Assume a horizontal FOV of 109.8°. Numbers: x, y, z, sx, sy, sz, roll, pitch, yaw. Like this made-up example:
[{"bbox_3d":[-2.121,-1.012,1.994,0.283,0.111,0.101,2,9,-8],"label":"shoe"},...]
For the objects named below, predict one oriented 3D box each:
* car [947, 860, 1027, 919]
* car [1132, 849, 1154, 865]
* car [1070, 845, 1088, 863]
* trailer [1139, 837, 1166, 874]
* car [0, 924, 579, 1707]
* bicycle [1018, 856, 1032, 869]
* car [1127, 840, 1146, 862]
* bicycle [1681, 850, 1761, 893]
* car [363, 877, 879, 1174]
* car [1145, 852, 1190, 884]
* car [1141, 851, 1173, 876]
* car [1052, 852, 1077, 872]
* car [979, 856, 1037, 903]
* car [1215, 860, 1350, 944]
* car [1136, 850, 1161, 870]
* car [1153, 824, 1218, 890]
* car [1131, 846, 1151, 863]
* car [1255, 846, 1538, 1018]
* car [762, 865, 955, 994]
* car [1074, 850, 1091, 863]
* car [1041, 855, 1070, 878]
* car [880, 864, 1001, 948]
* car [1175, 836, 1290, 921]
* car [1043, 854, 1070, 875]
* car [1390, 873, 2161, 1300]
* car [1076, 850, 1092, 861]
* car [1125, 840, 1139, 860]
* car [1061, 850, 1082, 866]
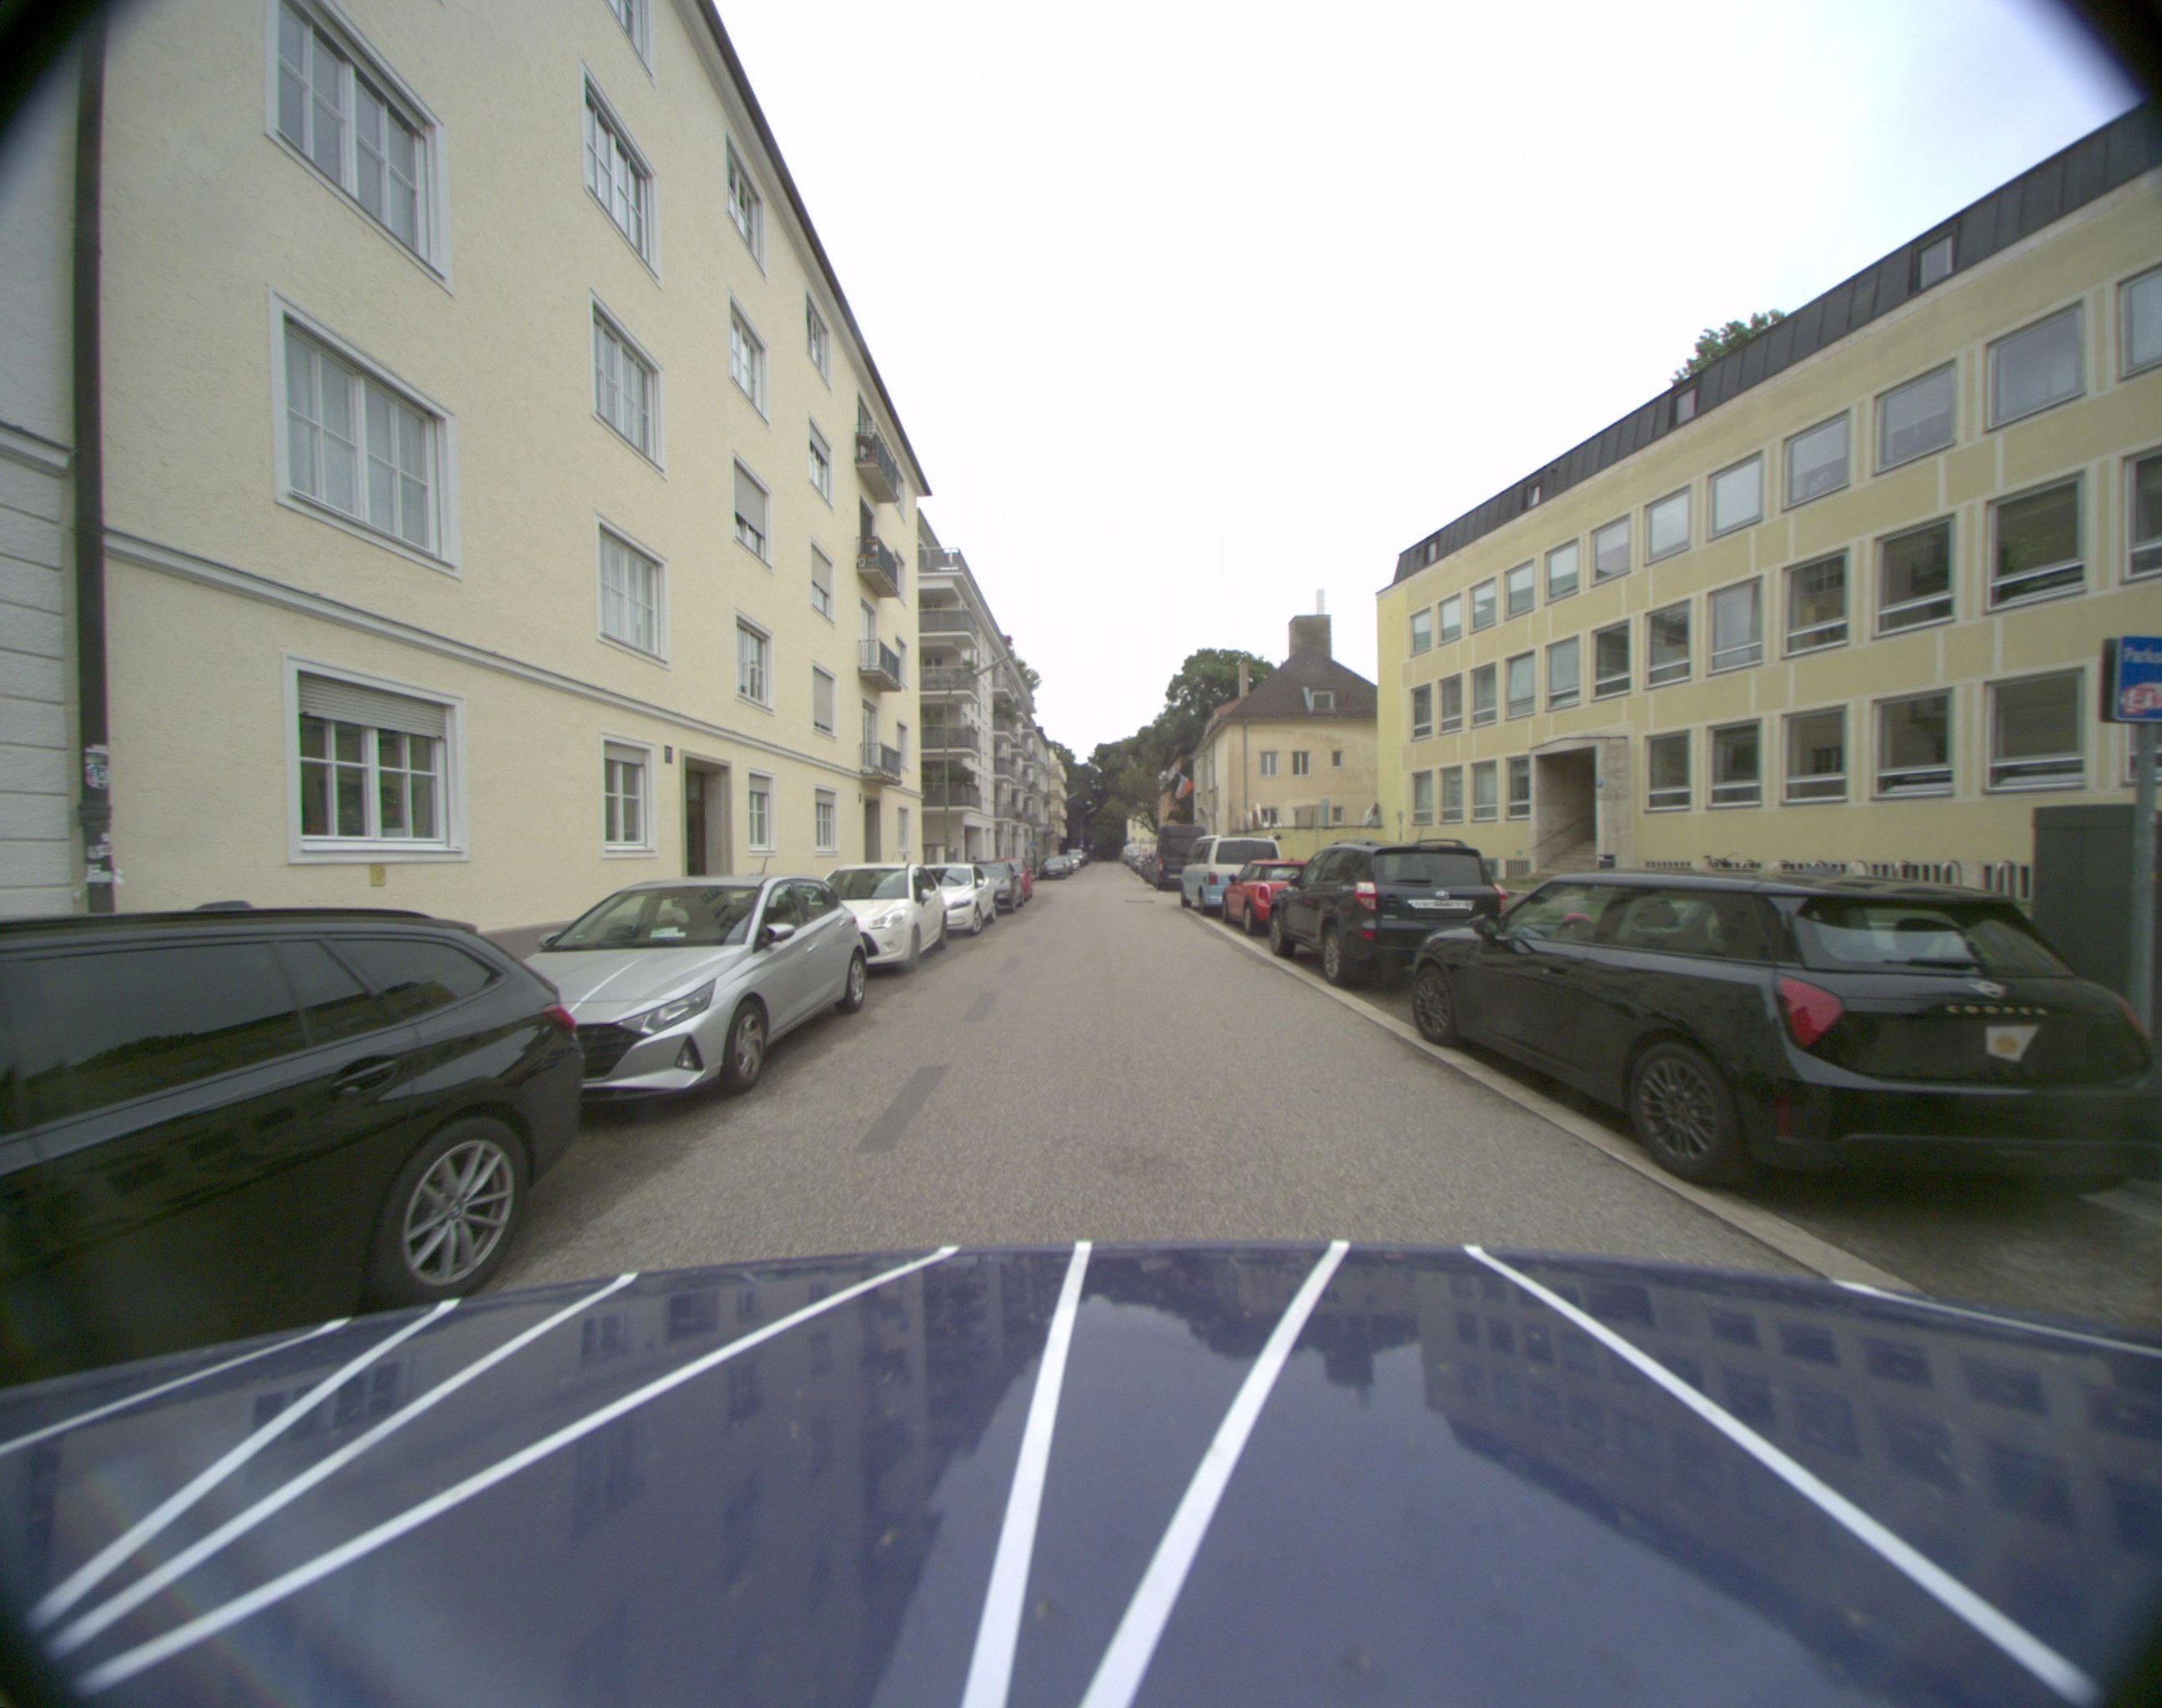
[{"bbox_3d":[-2.576,0.927,21.731,1.683,1.402,4.421,-1,1,0],"label":"car"},{"bbox_3d":[5.805,0.281,71.330,1.818,1.444,3.927,-1,1,1],"label":"car"},{"bbox_3d":[-0.220,-0.004,87.089,1.871,2.002,4.268,-1,1,3],"label":"car"},{"bbox_3d":[5.191,0.063,54.848,1.817,2.521,3.390,3,1,6],"label":"trailer"},{"bbox_3d":[-3.050,1.053,1.125,1.683,1.419,4.390,-1,1,0],"label":"car"},{"bbox_3d":[-4.728,0.732,64.531,0.580,1.008,1.955,-2,1,14],"label":"bicycle"},{"bbox_3d":[6.393,-0.381,87.642,2.104,2.418,4.550,-1,1,4],"label":"car"},{"bbox_3d":[16.634,0.438,19.736,1.954,1.008,0.580,-3,1,-16],"label":"bicycle"},{"bbox_3d":[-3.059,1.002,6.237,1.683,1.419,4.166,-1,1,0],"label":"car"},{"bbox_3d":[4.315,0.668,38.334,1.706,1.485,3.488,-1,1,-3],"label":"car"},{"bbox_3d":[4.869,0.603,49.236,1.817,1.491,4.644,0,1,3],"label":"car"},{"bbox_3d":[-1.293,0.617,59.986,1.766,1.449,3.747,-1,1,1],"label":"car"},{"bbox_3d":[-2.544,0.873,27.296,1.683,1.489,3.823,-1,1,0],"label":"car"},{"bbox_3d":[3.909,0.857,15.404,1.748,1.379,3.918,-2,0,1],"label":"car"},{"bbox_3d":[5.298,0.446,60.213,1.767,1.505,3.842,0,1,2],"label":"car"},{"bbox_3d":[4.432,0.108,33.143,2.302,2.630,5.654,0,0,3],"label":"car"},{"bbox_3d":[6.050,0.037,77.353,1.817,1.724,3.649,-1,1,2],"label":"car"},{"bbox_3d":[3.656,0.762,9.799,1.748,1.656,4.448,2,0,0],"label":"car"},{"bbox_3d":[-3.111,0.968,11.537,1.683,1.473,4.166,-1,1,0],"label":"car"},{"bbox_3d":[0.161,0.253,92.719,1.871,1.455,4.268,-1,1,3],"label":"car"},{"bbox_3d":[-1.691,0.814,50.435,1.784,1.385,4.245,-1,1,-2],"label":"car"},{"bbox_3d":[-2.812,0.983,16.183,1.683,1.402,4.442,-1,1,0],"label":"car"},{"bbox_3d":[3.816,0.544,20.081,1.933,1.967,5.021,0,1,-1],"label":"car"},{"bbox_3d":[-1.729,0.732,55.334,1.766,1.449,3.418,-1,1,1],"label":"car"},{"bbox_3d":[3.554,0.912,4.733,1.684,1.445,3.869,1,0,0],"label":"car"},{"bbox_3d":[0.443,0.181,102.864,1.871,1.455,4.268,-1,1,3],"label":"car"},{"bbox_3d":[6.962,-0.548,104.055,1.880,2.539,4.370,-1,1,3],"label":"car"},{"bbox_3d":[-0.880,0.383,71.875,1.766,1.449,3.747,-1,1,1],"label":"car"}]
